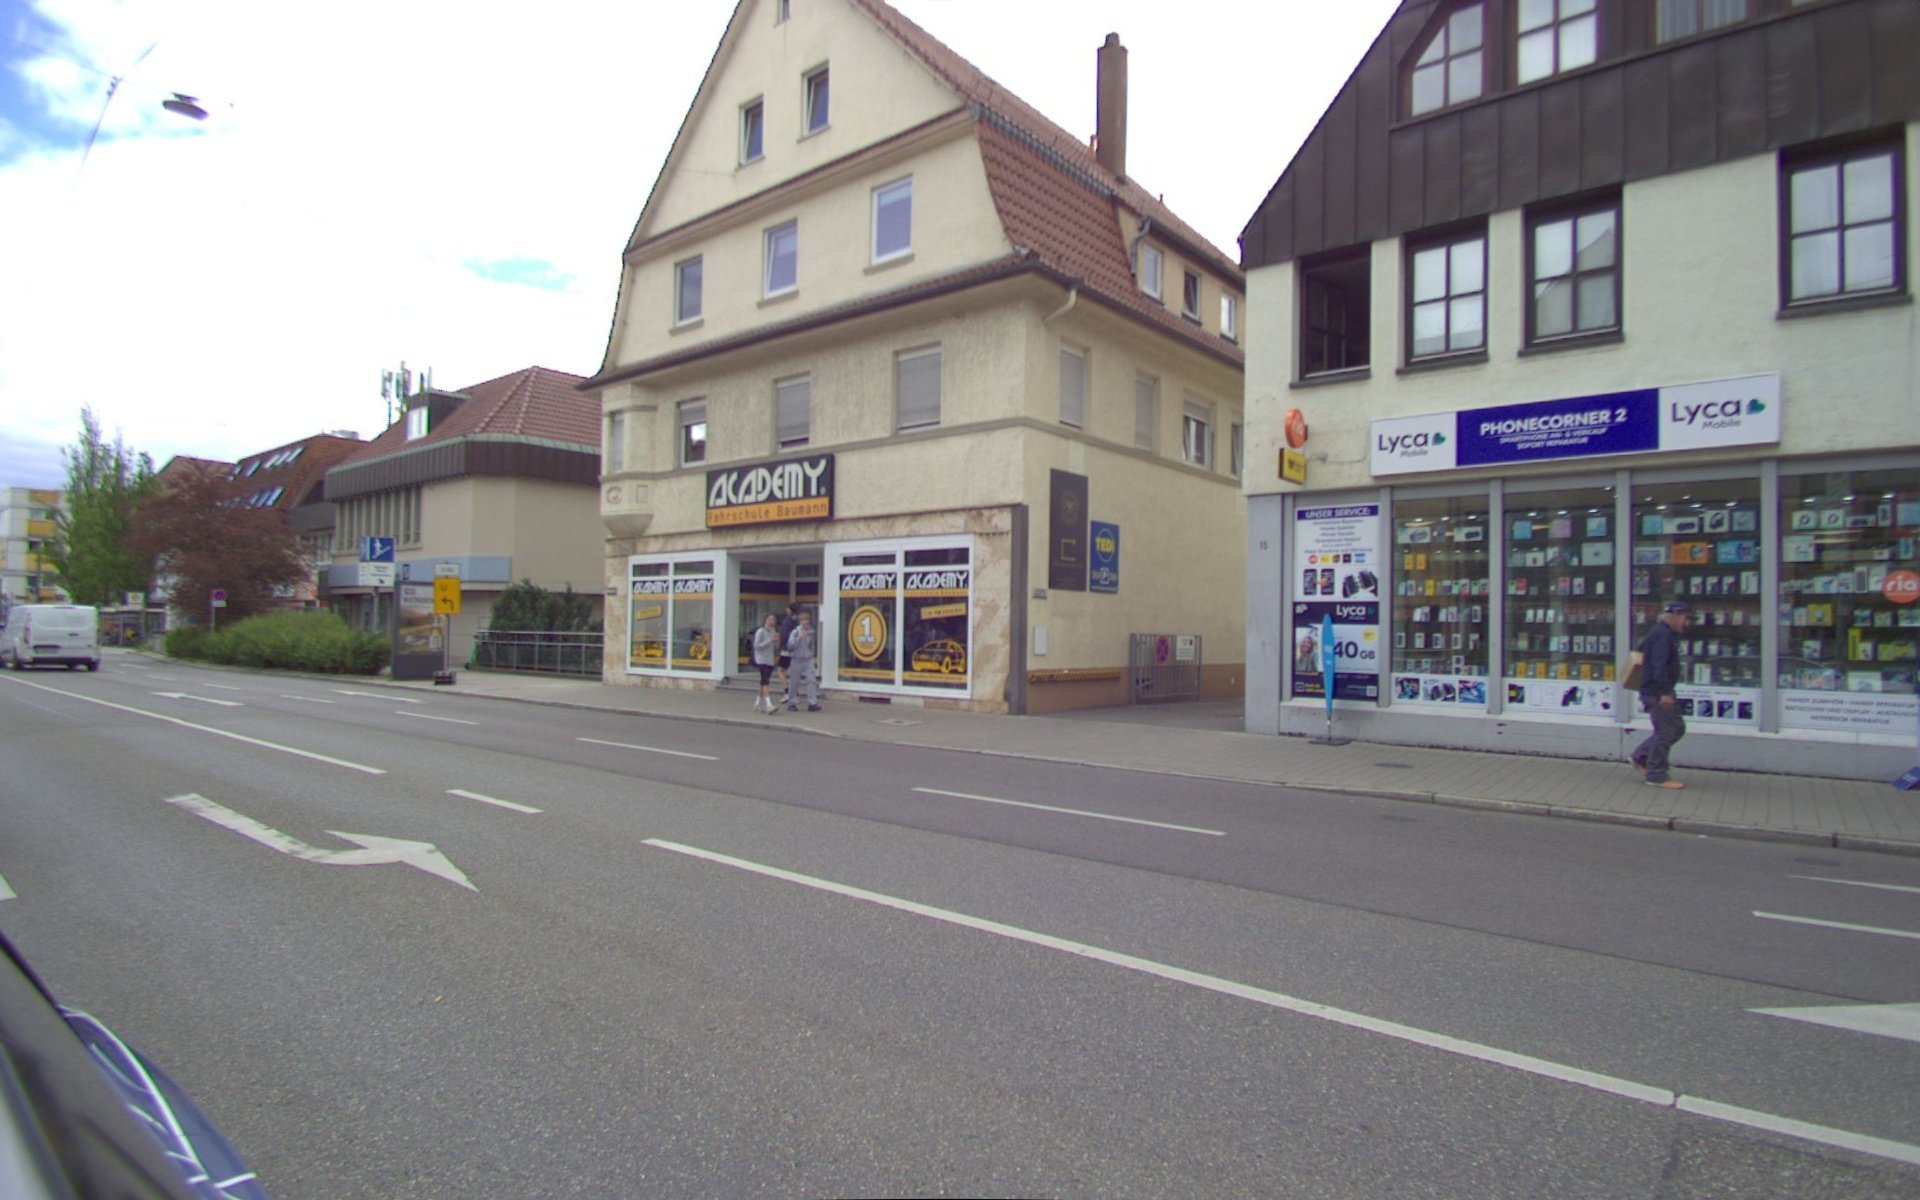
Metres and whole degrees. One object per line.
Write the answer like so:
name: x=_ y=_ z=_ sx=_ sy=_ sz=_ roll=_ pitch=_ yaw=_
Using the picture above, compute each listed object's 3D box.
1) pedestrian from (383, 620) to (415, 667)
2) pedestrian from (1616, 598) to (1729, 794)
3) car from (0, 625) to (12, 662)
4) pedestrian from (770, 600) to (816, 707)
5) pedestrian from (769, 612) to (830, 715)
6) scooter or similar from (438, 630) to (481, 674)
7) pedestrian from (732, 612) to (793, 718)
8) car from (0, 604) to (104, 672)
pedestrian: x=-21.731 y=1.686 z=39.192 sx=0.837 sy=1.772 sz=0.825 roll=-1 pitch=-3 yaw=41
pedestrian: x=6.654 y=0.853 z=9.455 sx=0.775 sy=1.726 sz=0.680 roll=-1 pitch=-1 yaw=41
car: x=-37.944 y=1.645 z=39.001 sx=3.539 sy=1.410 sz=1.630 roll=-1 pitch=-3 yaw=40
pedestrian: x=-3.032 y=0.957 z=18.372 sx=0.592 sy=1.903 sz=0.544 roll=-1 pitch=-1 yaw=36
pedestrian: x=-2.738 y=1.058 z=17.271 sx=0.709 sy=1.683 sz=0.681 roll=-1 pitch=0 yaw=40
scooter or similar: x=-16.507 y=1.701 z=33.422 sx=0.536 sy=1.404 sz=1.182 roll=-1 pitch=-2 yaw=25
pedestrian: x=-3.272 y=1.050 z=16.760 sx=0.742 sy=1.703 sz=0.680 roll=-1 pitch=-1 yaw=40
car: x=-27.973 y=1.149 z=31.012 sx=4.318 sy=1.924 sz=1.932 roll=-1 pitch=-3 yaw=40
